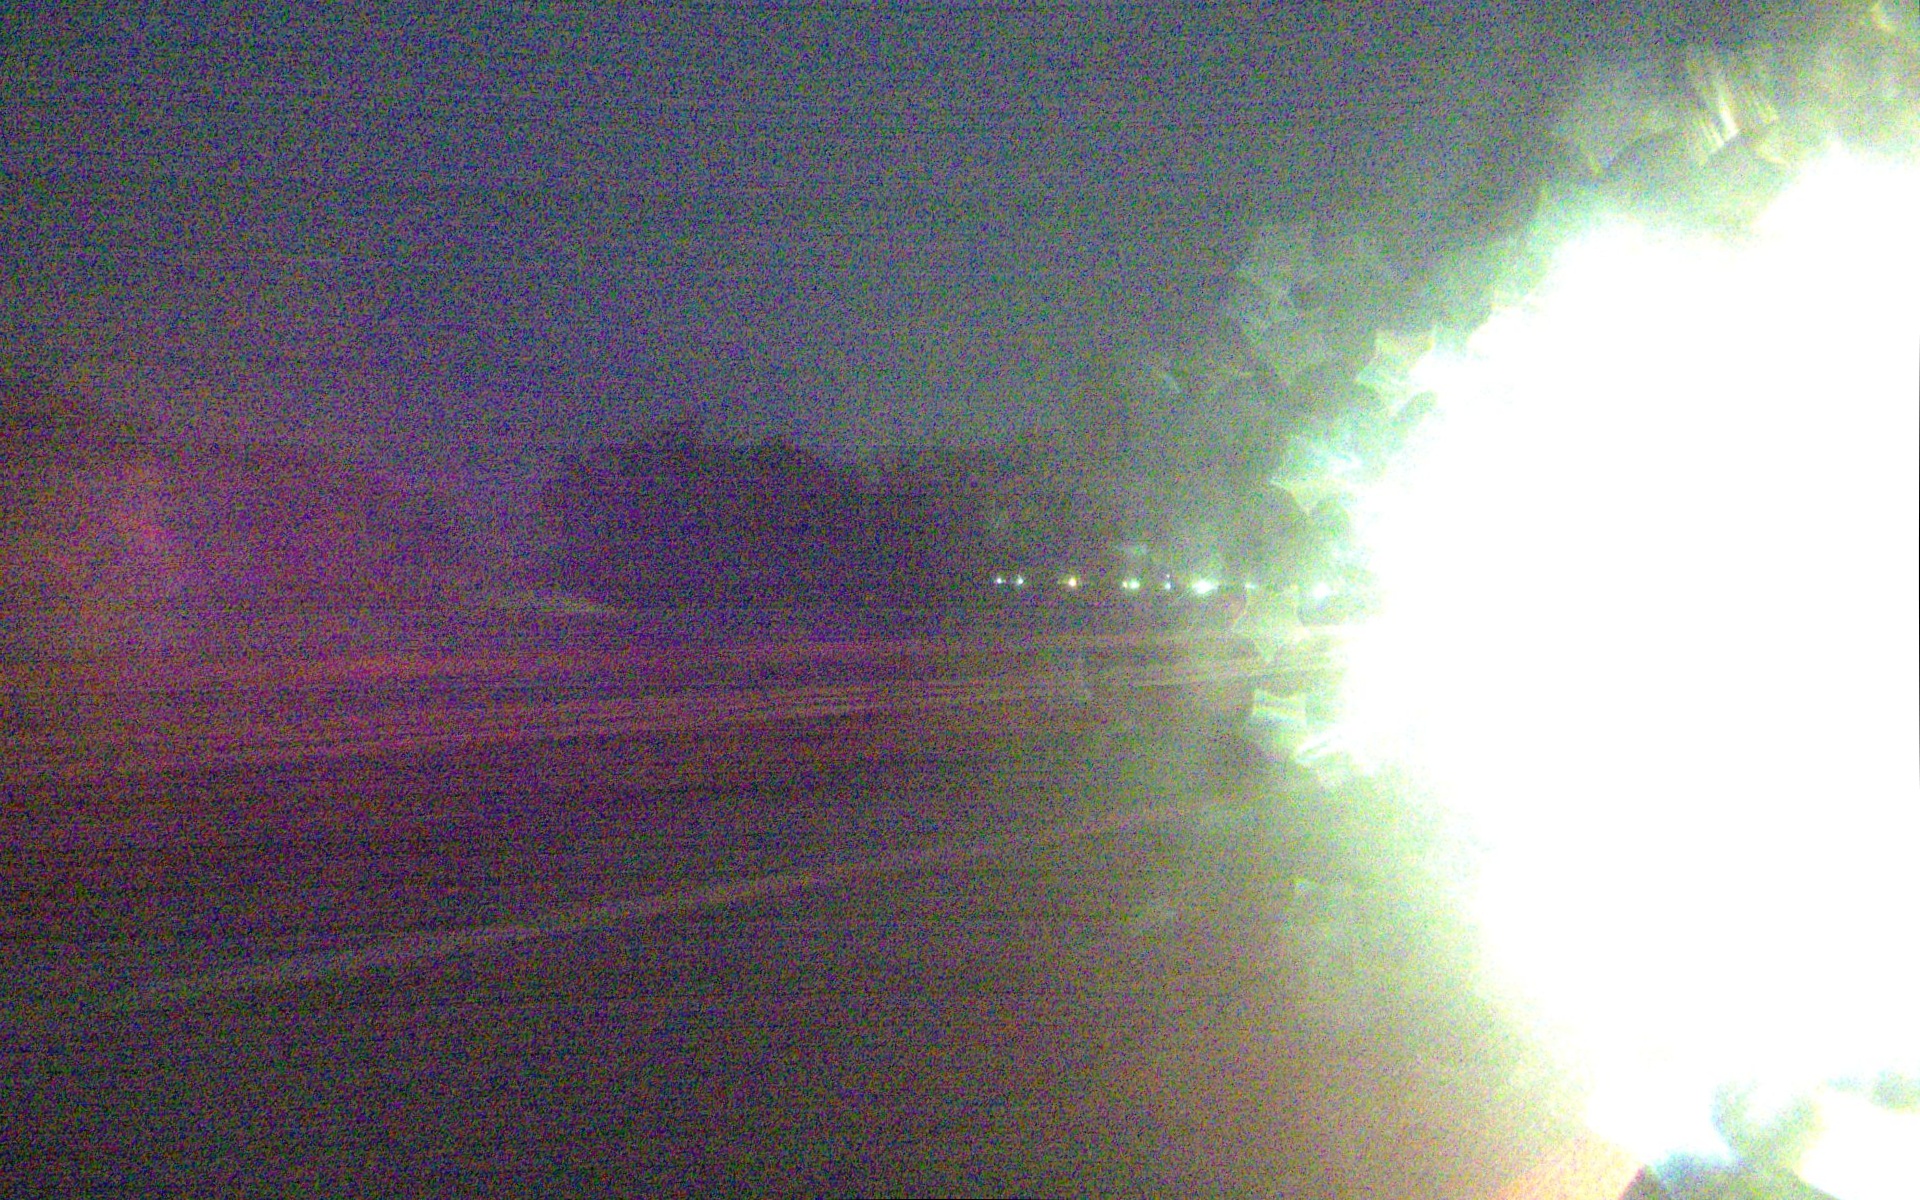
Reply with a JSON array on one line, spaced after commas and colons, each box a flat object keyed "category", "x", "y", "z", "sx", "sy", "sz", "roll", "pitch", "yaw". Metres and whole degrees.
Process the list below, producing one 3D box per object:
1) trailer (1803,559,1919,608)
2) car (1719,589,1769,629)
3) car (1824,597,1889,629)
[{"category": "trailer", "x": 86.717, "y": -1.570, "z": 94.456, "sx": 2.487, "sy": 4.390, "sz": 13.736, "roll": -1, "pitch": 1, "yaw": -11}, {"category": "car", "x": 35.569, "y": 0.382, "z": 45.877, "sx": 1.733, "sy": 1.705, "sz": 4.062, "roll": -1, "pitch": 0, "yaw": 39}, {"category": "car", "x": 38.624, "y": 0.533, "z": 43.681, "sx": 1.751, "sy": 1.328, "sz": 4.032, "roll": 0, "pitch": 0, "yaw": 36}]
